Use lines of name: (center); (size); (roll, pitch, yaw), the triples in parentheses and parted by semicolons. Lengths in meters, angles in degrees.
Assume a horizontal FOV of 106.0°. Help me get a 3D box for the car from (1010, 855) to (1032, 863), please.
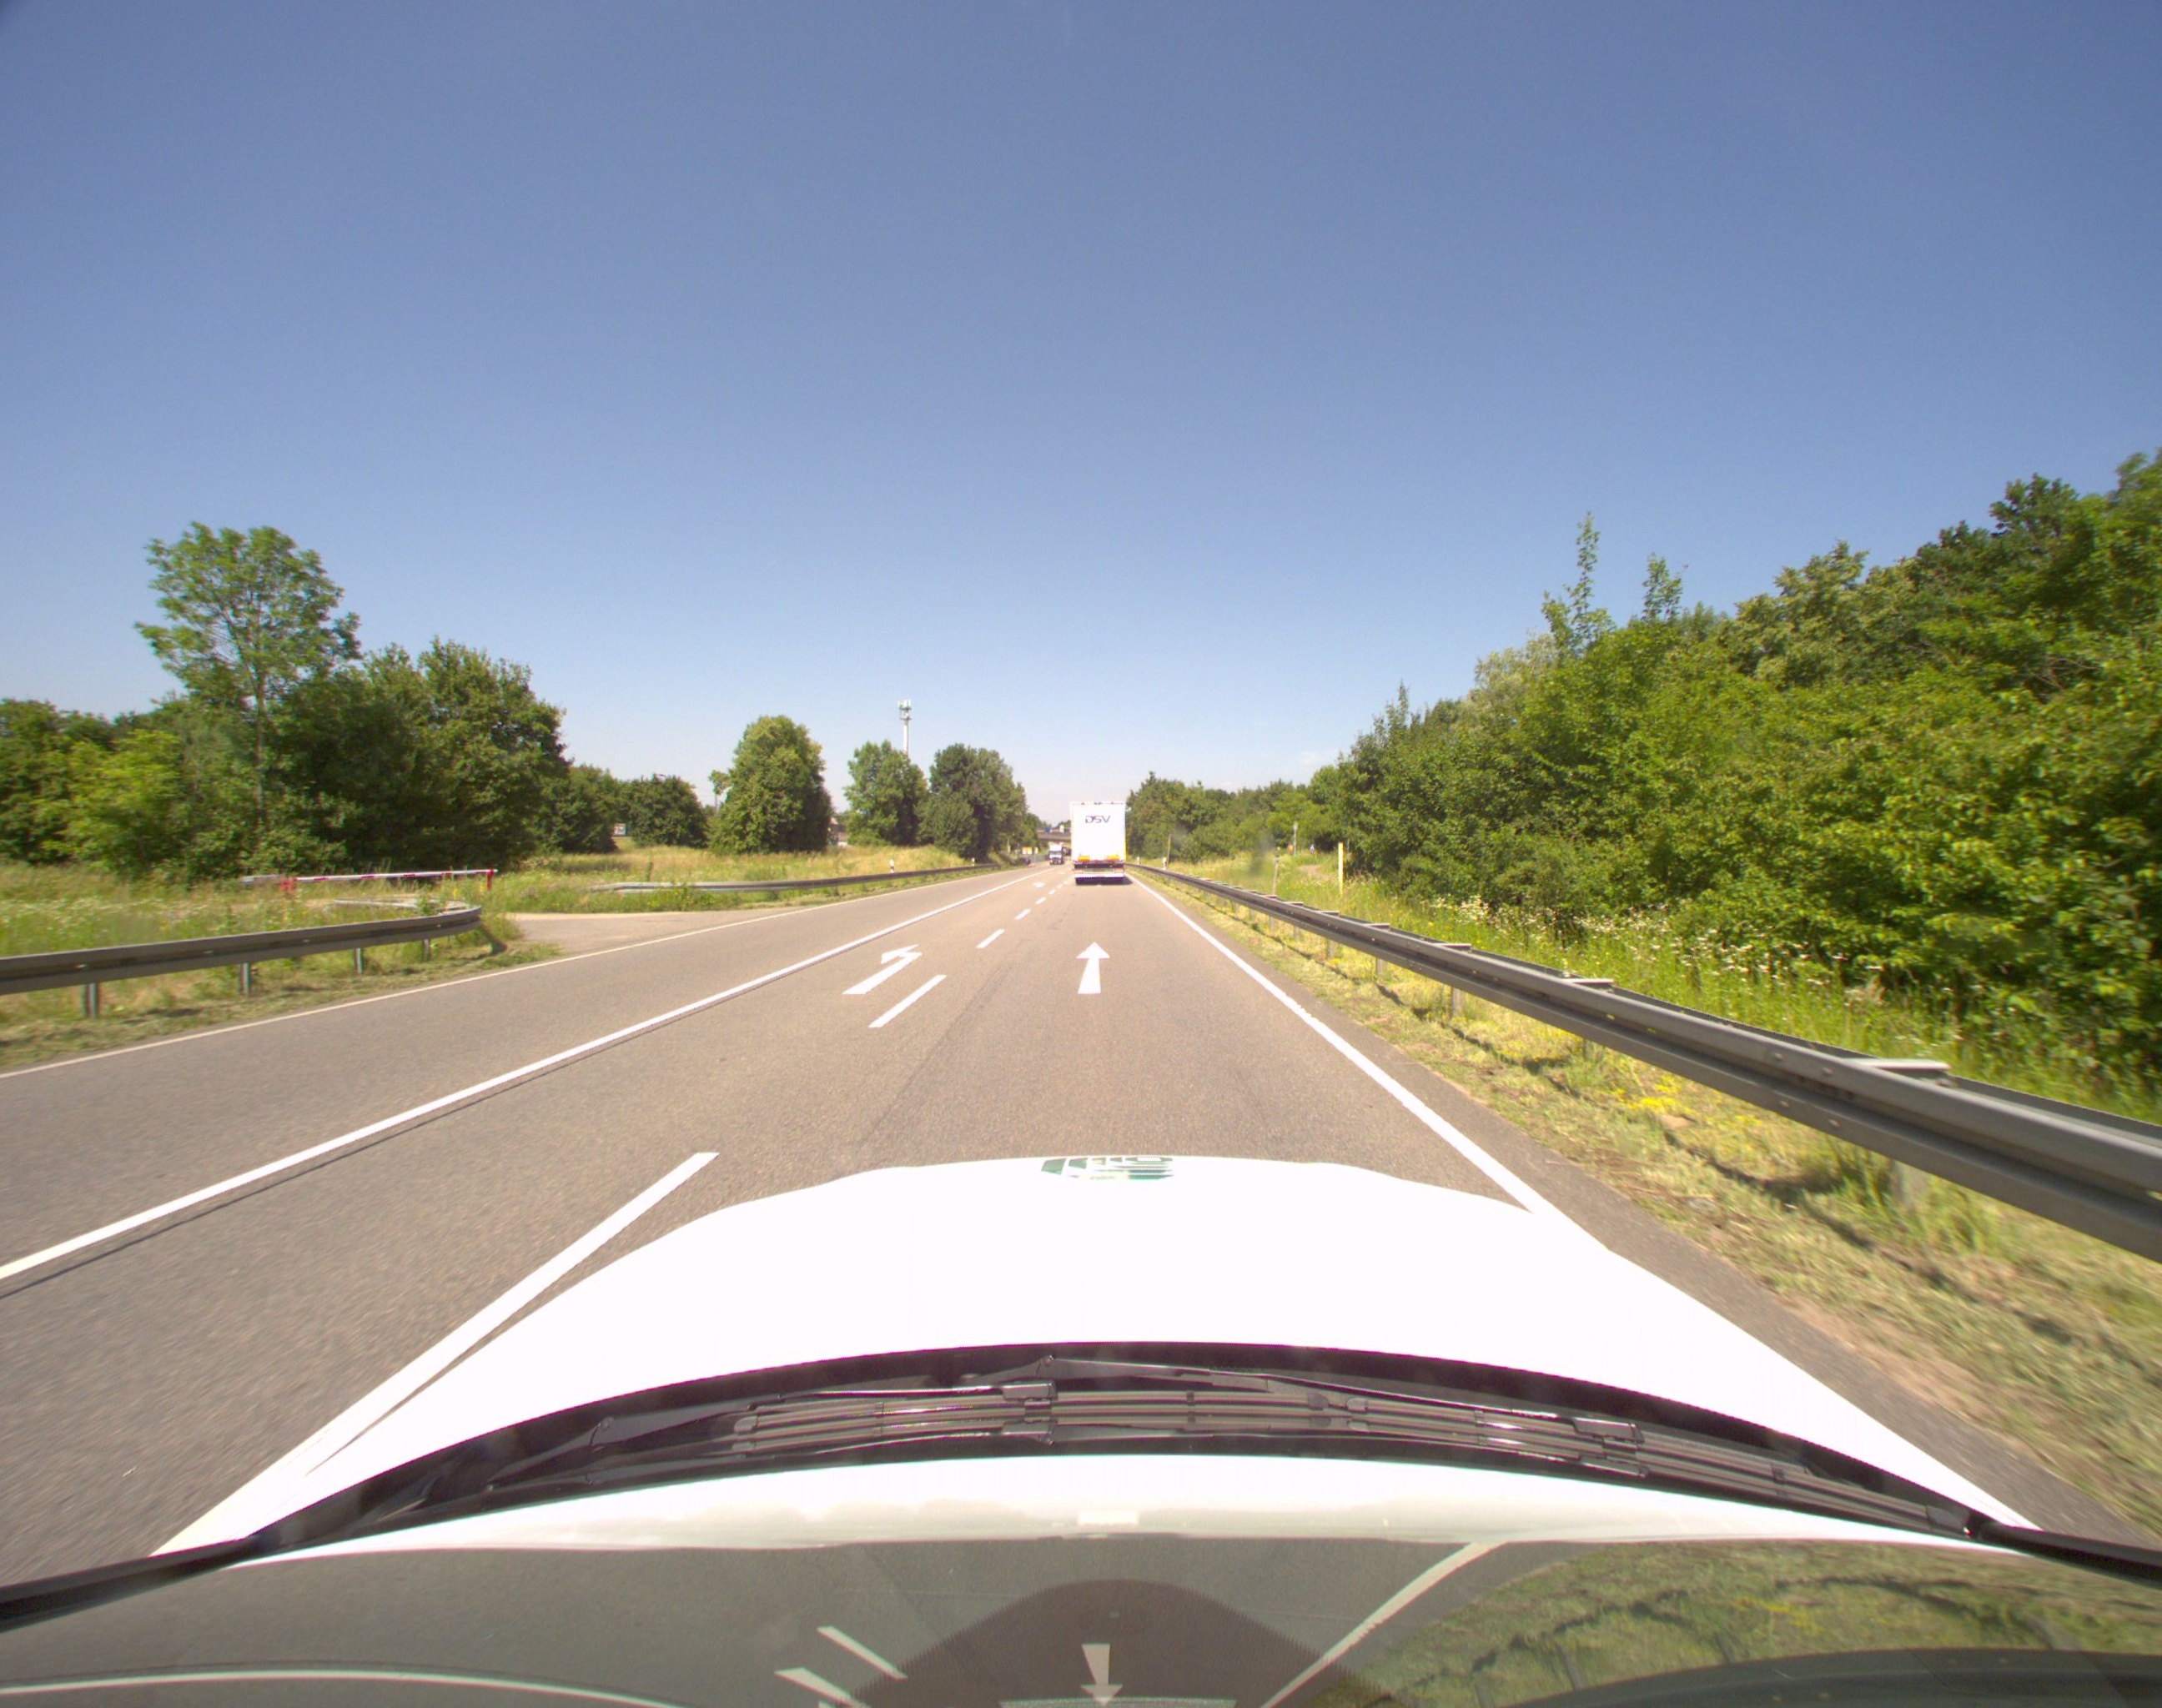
car: (-11.705, 1.007, 158.123); (3.881, 1.513, 1.698); (-1, 0, -24)

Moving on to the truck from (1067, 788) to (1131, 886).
truck: (1.003, -0.777, 43.250); (2.939, 4.568, 9.866); (-1, 0, 2)

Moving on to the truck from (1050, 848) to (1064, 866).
truck: (-5.172, 0.579, 177.423); (2.345, 3.750, 12.624); (-1, 0, 0)

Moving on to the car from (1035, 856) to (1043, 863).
car: (-10.715, 1.428, 207.895); (1.799, 1.872, 4.411); (-1, 0, -5)
